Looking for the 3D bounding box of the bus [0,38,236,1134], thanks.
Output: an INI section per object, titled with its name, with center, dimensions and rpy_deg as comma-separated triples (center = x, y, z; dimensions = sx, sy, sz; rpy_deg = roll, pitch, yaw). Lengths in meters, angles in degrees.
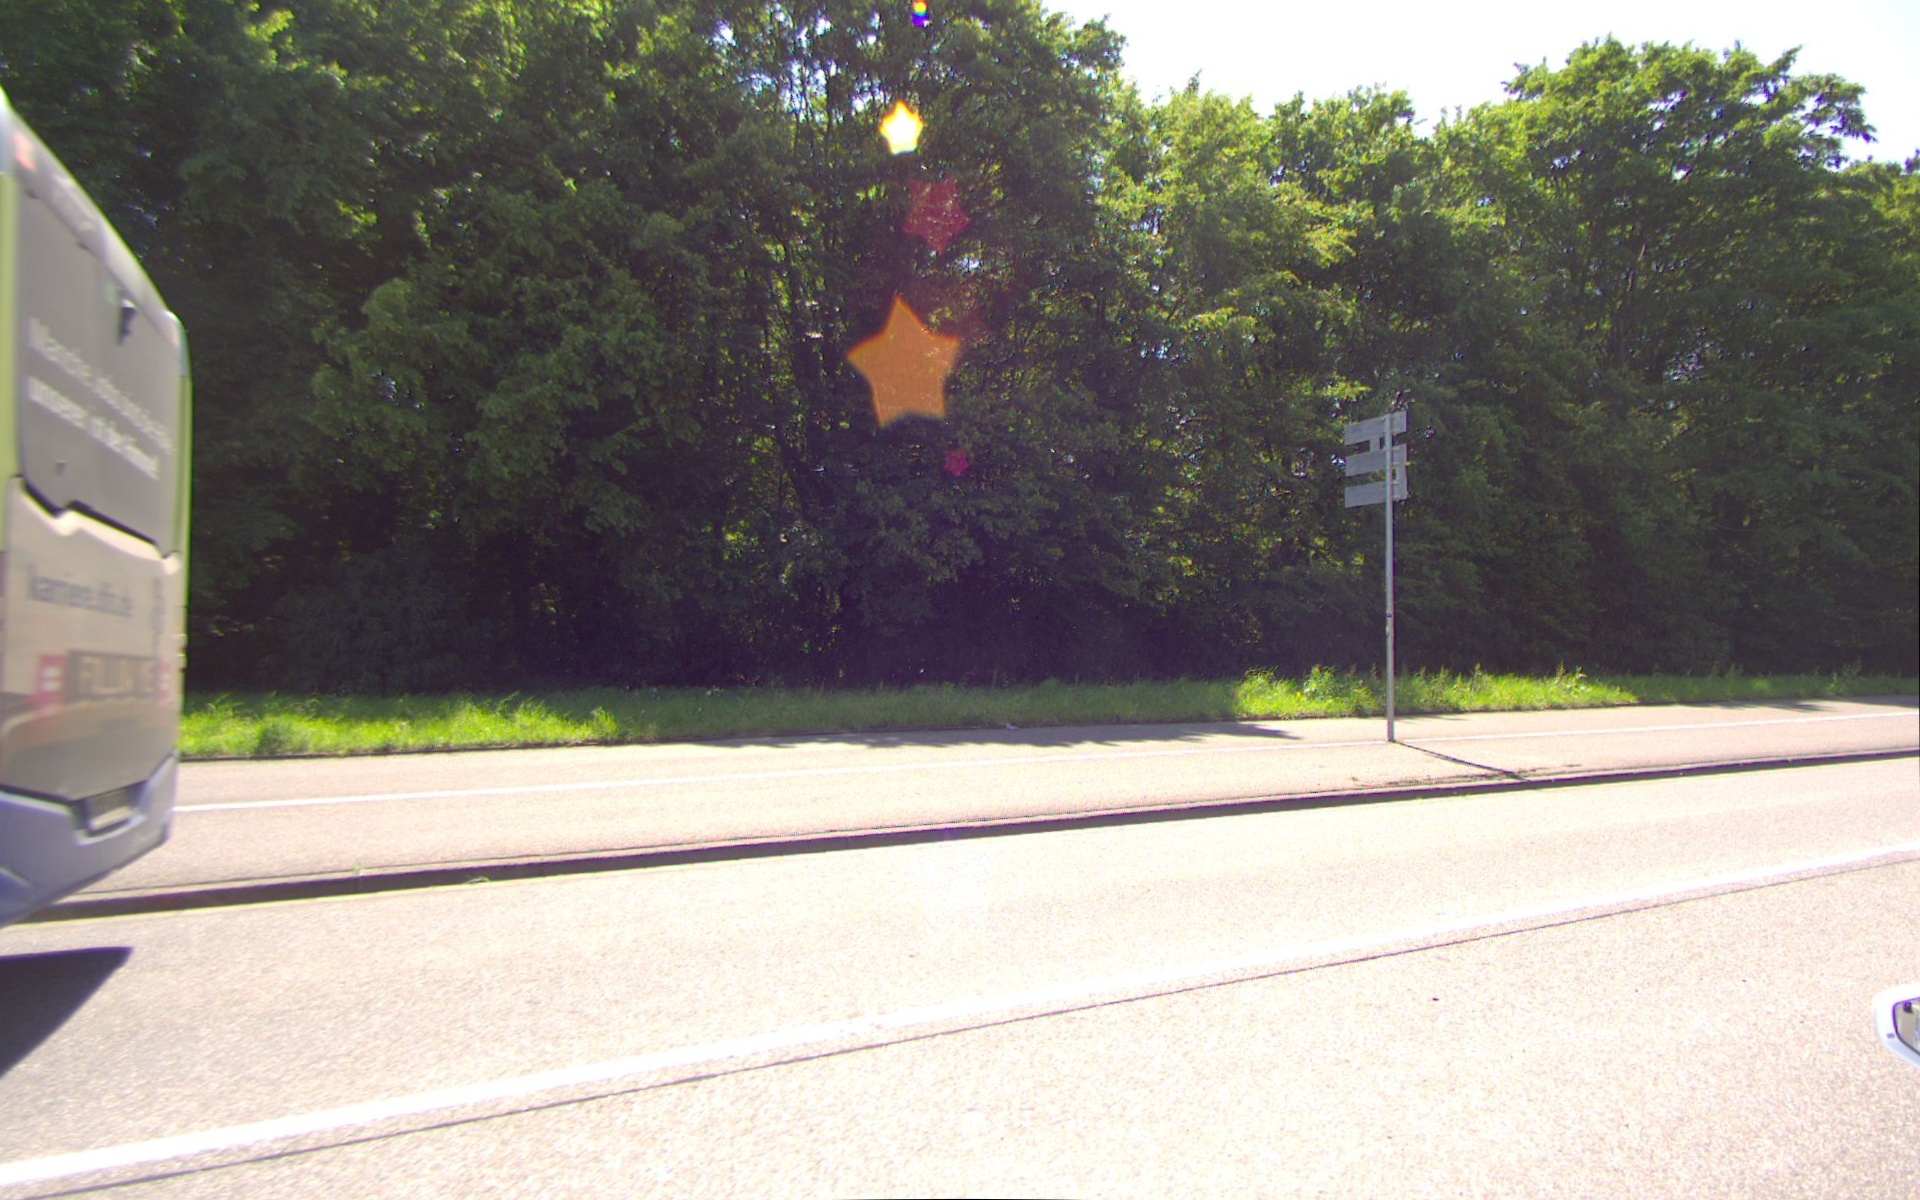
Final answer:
[bus]
center = -8.499, -0.106, 1.372
dimensions = 11.784, 3.085, 2.740
rpy_deg = 1, -3, -27
